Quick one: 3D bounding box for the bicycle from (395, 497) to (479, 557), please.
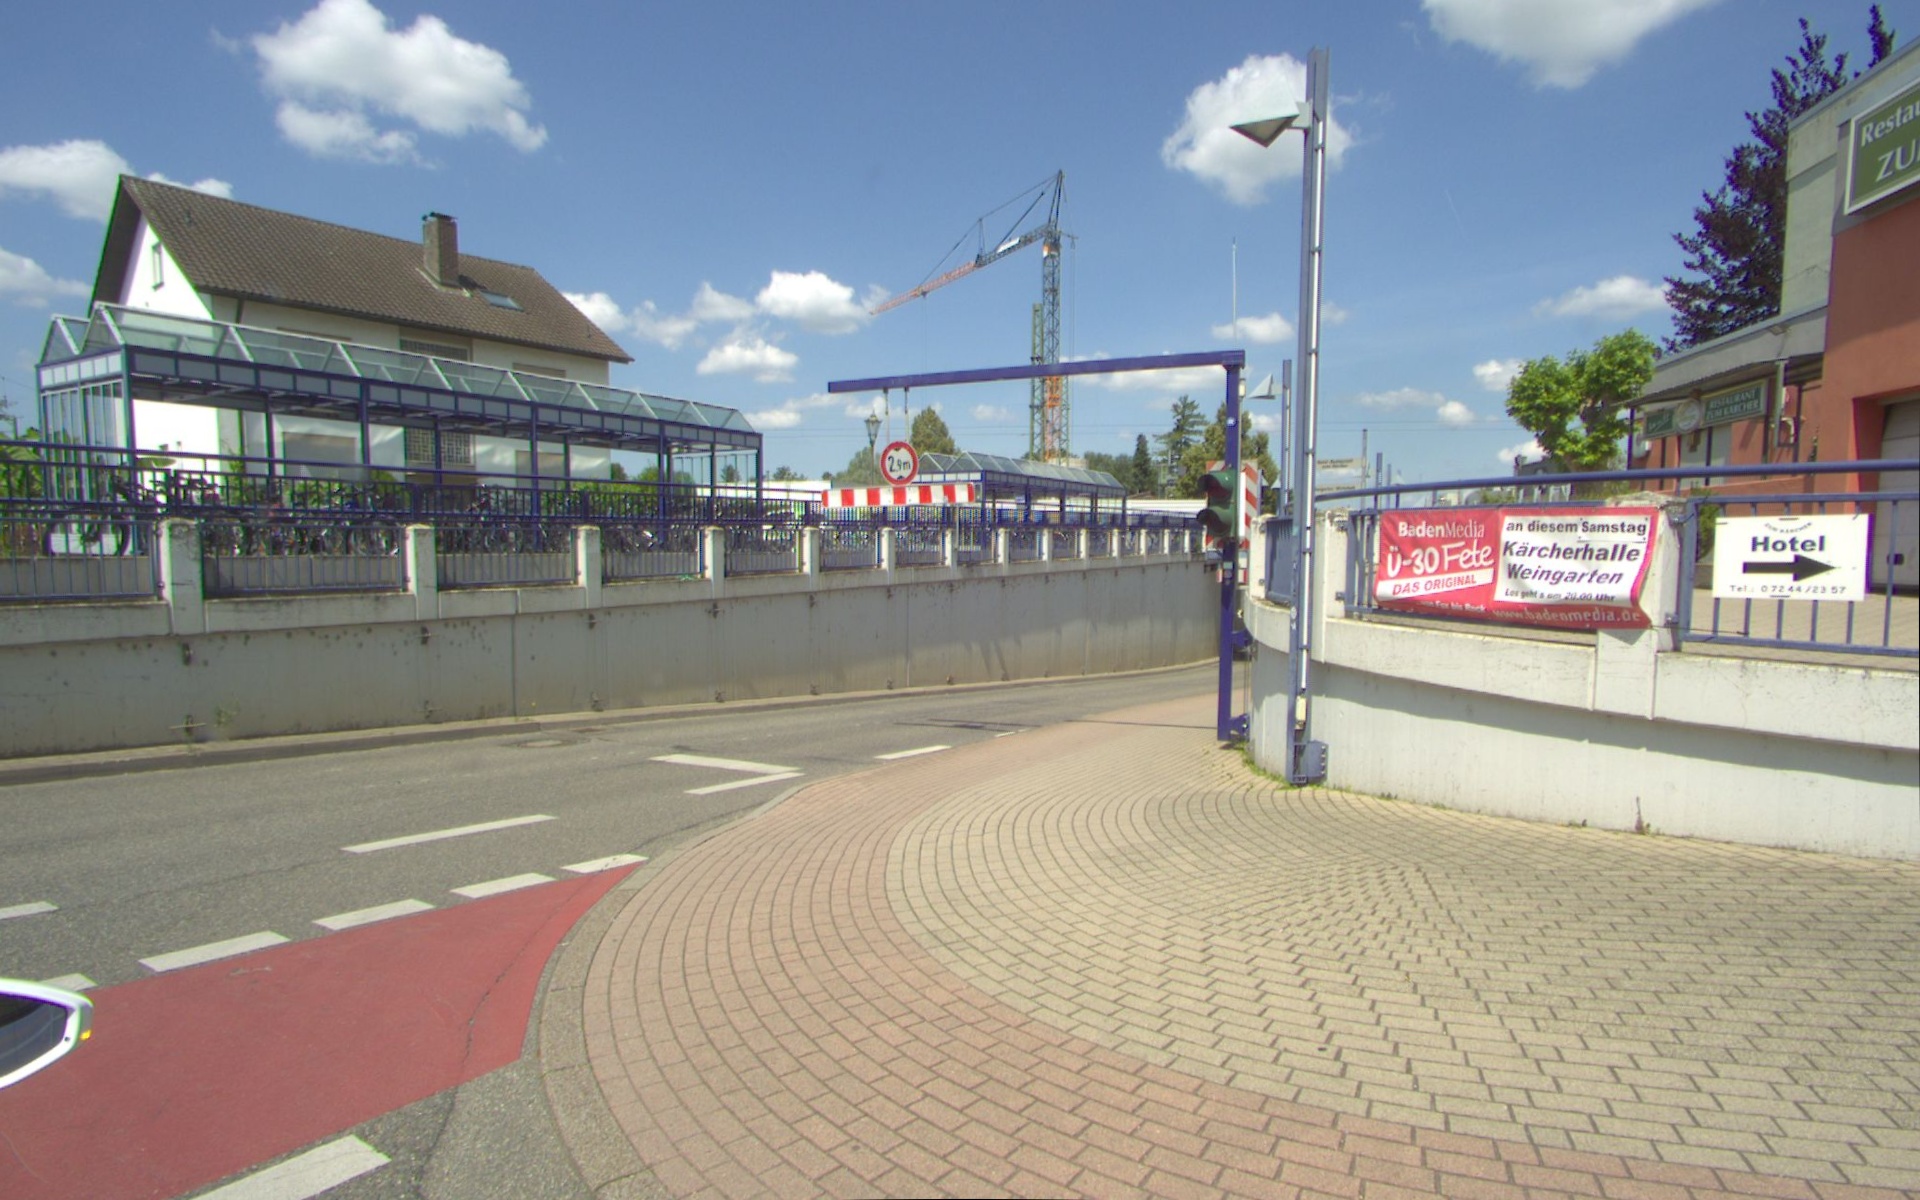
[{"bbox_3d":[-9.336,-1.293,17.851,1.937,1.009,0.413,3,3,32],"label":"bicycle"}]

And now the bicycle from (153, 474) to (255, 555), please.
[{"bbox_3d":[-9.994,-1.109,13.208,2.045,1.009,0.331,3,3,32],"label":"bicycle"}]

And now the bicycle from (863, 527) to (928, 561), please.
[{"bbox_3d":[-1.945,-1.691,30.272,1.994,1.009,0.509,2,3,29],"label":"bicycle"}]

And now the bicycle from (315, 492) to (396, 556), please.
[{"bbox_3d":[-10.167,-1.263,16.817,1.938,1.009,0.424,3,4,35],"label":"bicycle"}]

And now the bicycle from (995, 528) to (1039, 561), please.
[{"bbox_3d":[2.055,-2.021,36.466,1.577,1.174,0.384,3,3,30],"label":"bicycle"}]

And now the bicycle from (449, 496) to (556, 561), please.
[{"bbox_3d":[-7.615,-1.178,16.615,2.249,1.009,0.531,3,3,35],"label":"bicycle"}]

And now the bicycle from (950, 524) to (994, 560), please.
[{"bbox_3d":[0.407,-1.925,33.525,1.582,1.174,0.383,3,4,41],"label":"bicycle"}]

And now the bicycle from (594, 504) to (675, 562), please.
[{"bbox_3d":[-6.138,-1.245,18.799,0.575,1.009,2.165,-2,4,-44],"label":"bicycle"}]

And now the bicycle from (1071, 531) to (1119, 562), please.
[{"bbox_3d":[5.209,-2.062,38.692,1.795,1.174,0.509,2,3,30],"label":"bicycle"}]

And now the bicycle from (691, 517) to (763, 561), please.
[{"bbox_3d":[-5.544,-1.443,23.764,2.013,1.009,0.541,3,4,39],"label":"bicycle"}]

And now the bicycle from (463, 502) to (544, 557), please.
[{"bbox_3d":[-8.724,-1.335,19.107,1.775,1.009,0.517,3,3,32],"label":"bicycle"}]

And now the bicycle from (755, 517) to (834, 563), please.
[{"bbox_3d":[-3.848,-1.391,23.201,2.011,1.009,0.542,3,4,36],"label":"bicycle"}]

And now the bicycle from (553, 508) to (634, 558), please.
[{"bbox_3d":[-7.632,-1.389,20.832,1.937,1.009,0.517,3,3,32],"label":"bicycle"}]

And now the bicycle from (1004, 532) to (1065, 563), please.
[{"bbox_3d":[2.503,-1.758,33.658,1.994,1.009,0.509,2,3,29],"label":"bicycle"}]

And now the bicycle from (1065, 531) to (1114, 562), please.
[{"bbox_3d":[4.946,-2.046,38.216,1.795,1.174,0.509,2,3,30],"label":"bicycle"}]

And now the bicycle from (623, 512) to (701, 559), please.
[{"bbox_3d":[-6.642,-1.433,22.274,1.937,1.009,0.517,3,3,32],"label":"bicycle"}]

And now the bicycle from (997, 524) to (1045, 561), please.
[{"bbox_3d":[1.958,-1.849,32.318,1.582,1.174,0.426,3,4,41],"label":"bicycle"}]

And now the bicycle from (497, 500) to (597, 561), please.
[{"bbox_3d":[-7.252,-1.211,17.543,2.157,1.009,0.531,3,3,35],"label":"bicycle"}]

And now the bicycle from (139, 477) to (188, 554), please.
[{"bbox_3d":[-11.296,-1.172,14.186,0.451,1.009,1.870,-2,4,-41],"label":"bicycle"}]

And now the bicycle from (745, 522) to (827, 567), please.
[{"bbox_3d":[-4.047,-1.295,23.224,2.130,1.009,0.435,3,3,32],"label":"bicycle"}]

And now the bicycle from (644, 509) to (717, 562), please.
[{"bbox_3d":[-5.663,-1.297,20.231,0.512,1.009,2.017,-2,4,-45],"label":"bicycle"}]

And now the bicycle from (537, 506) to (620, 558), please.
[{"bbox_3d":[-7.716,-1.365,20.218,1.937,1.009,0.517,3,3,32],"label":"bicycle"}]

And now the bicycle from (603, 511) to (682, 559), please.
[{"bbox_3d":[-6.934,-1.419,21.808,1.937,1.009,0.517,3,3,32],"label":"bicycle"}]

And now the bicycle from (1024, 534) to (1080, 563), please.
[{"bbox_3d":[3.216,-1.807,35.104,1.893,1.009,0.509,2,3,29],"label":"bicycle"}]

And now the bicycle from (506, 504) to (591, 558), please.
[{"bbox_3d":[-8.044,-1.343,19.556,1.937,1.009,0.517,3,3,32],"label":"bicycle"}]

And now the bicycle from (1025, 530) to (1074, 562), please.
[{"bbox_3d":[3.430,-2.081,38.451,1.795,1.174,0.509,2,3,30],"label":"bicycle"}]

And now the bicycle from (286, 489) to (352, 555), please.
[{"bbox_3d":[-10.390,-1.241,16.197,1.942,1.009,0.371,3,4,41],"label":"bicycle"}]

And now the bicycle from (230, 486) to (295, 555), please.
[{"bbox_3d":[-10.947,-1.229,15.695,1.942,1.009,0.371,3,4,41],"label":"bicycle"}]

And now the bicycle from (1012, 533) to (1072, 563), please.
[{"bbox_3d":[2.780,-1.773,34.117,1.994,1.009,0.509,2,3,29],"label":"bicycle"}]

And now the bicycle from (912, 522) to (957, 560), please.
[{"bbox_3d":[-0.821,-1.887,32.110,1.582,1.174,0.383,3,4,41],"label":"bicycle"}]

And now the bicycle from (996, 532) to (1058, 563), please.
[{"bbox_3d":[2.206,-1.742,33.142,1.994,1.009,0.509,2,3,29],"label":"bicycle"}]

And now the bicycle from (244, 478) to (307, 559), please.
[{"bbox_3d":[-9.267,-1.077,13.530,0.432,1.009,2.082,-2,4,-41],"label":"bicycle"}]

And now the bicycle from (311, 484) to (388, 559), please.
[{"bbox_3d":[-8.850,-1.110,14.482,2.079,1.009,0.433,3,4,44],"label":"bicycle"}]

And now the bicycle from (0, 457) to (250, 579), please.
[{"bbox_3d":[-8.591,-0.798,10.317,0.328,1.141,2.110,3,3,31],"label":"bicycle"}]

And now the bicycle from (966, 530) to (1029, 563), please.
[{"bbox_3d":[1.184,-1.702,31.783,1.994,1.009,0.509,2,3,29],"label":"bicycle"}]

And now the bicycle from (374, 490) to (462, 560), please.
[{"bbox_3d":[-8.441,-1.147,15.548,2.253,1.009,0.433,3,4,41],"label":"bicycle"}]

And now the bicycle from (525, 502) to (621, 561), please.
[{"bbox_3d":[-7.069,-1.237,18.247,2.157,1.009,0.531,3,3,35],"label":"bicycle"}]

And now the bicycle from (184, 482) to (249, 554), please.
[{"bbox_3d":[-11.033,-1.195,14.842,1.942,1.009,0.371,3,4,41],"label":"bicycle"}]

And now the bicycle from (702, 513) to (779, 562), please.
[{"bbox_3d":[-4.734,-1.334,21.479,2.015,1.009,0.541,3,4,42],"label":"bicycle"}]

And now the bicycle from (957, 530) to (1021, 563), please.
[{"bbox_3d":[0.899,-1.684,31.235,1.994,1.009,0.435,2,3,29],"label":"bicycle"}]

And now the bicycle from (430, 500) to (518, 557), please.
[{"bbox_3d":[-8.979,-1.313,18.471,1.937,1.009,0.517,3,3,32],"label":"bicycle"}]

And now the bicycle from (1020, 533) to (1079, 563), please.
[{"bbox_3d":[3.070,-1.784,34.490,1.994,1.009,0.509,2,3,29],"label":"bicycle"}]

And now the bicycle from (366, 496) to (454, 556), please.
[{"bbox_3d":[-9.602,-1.281,17.456,1.937,1.009,0.472,3,3,32],"label":"bicycle"}]

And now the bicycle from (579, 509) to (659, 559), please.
[{"bbox_3d":[-7.271,-1.404,21.327,1.937,1.009,0.517,3,3,32],"label":"bicycle"}]

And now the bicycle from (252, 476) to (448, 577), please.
[{"bbox_3d":[-7.409,-0.861,12.293,0.386,1.141,2.110,3,3,31],"label":"bicycle"}]

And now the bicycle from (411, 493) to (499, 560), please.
[{"bbox_3d":[-8.105,-1.162,16.023,2.253,1.009,0.433,3,4,41],"label":"bicycle"}]

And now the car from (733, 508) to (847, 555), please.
[{"bbox_3d":[-6.503,-2.597,38.268,3.937,1.701,1.991,2,3,28],"label":"car"}]

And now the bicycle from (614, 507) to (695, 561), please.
[{"bbox_3d":[-6.006,-1.277,19.619,2.013,1.009,0.513,3,4,40],"label":"bicycle"}]

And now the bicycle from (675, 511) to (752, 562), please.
[{"bbox_3d":[-5.137,-1.311,20.767,2.015,1.009,0.513,3,4,42],"label":"bicycle"}]
